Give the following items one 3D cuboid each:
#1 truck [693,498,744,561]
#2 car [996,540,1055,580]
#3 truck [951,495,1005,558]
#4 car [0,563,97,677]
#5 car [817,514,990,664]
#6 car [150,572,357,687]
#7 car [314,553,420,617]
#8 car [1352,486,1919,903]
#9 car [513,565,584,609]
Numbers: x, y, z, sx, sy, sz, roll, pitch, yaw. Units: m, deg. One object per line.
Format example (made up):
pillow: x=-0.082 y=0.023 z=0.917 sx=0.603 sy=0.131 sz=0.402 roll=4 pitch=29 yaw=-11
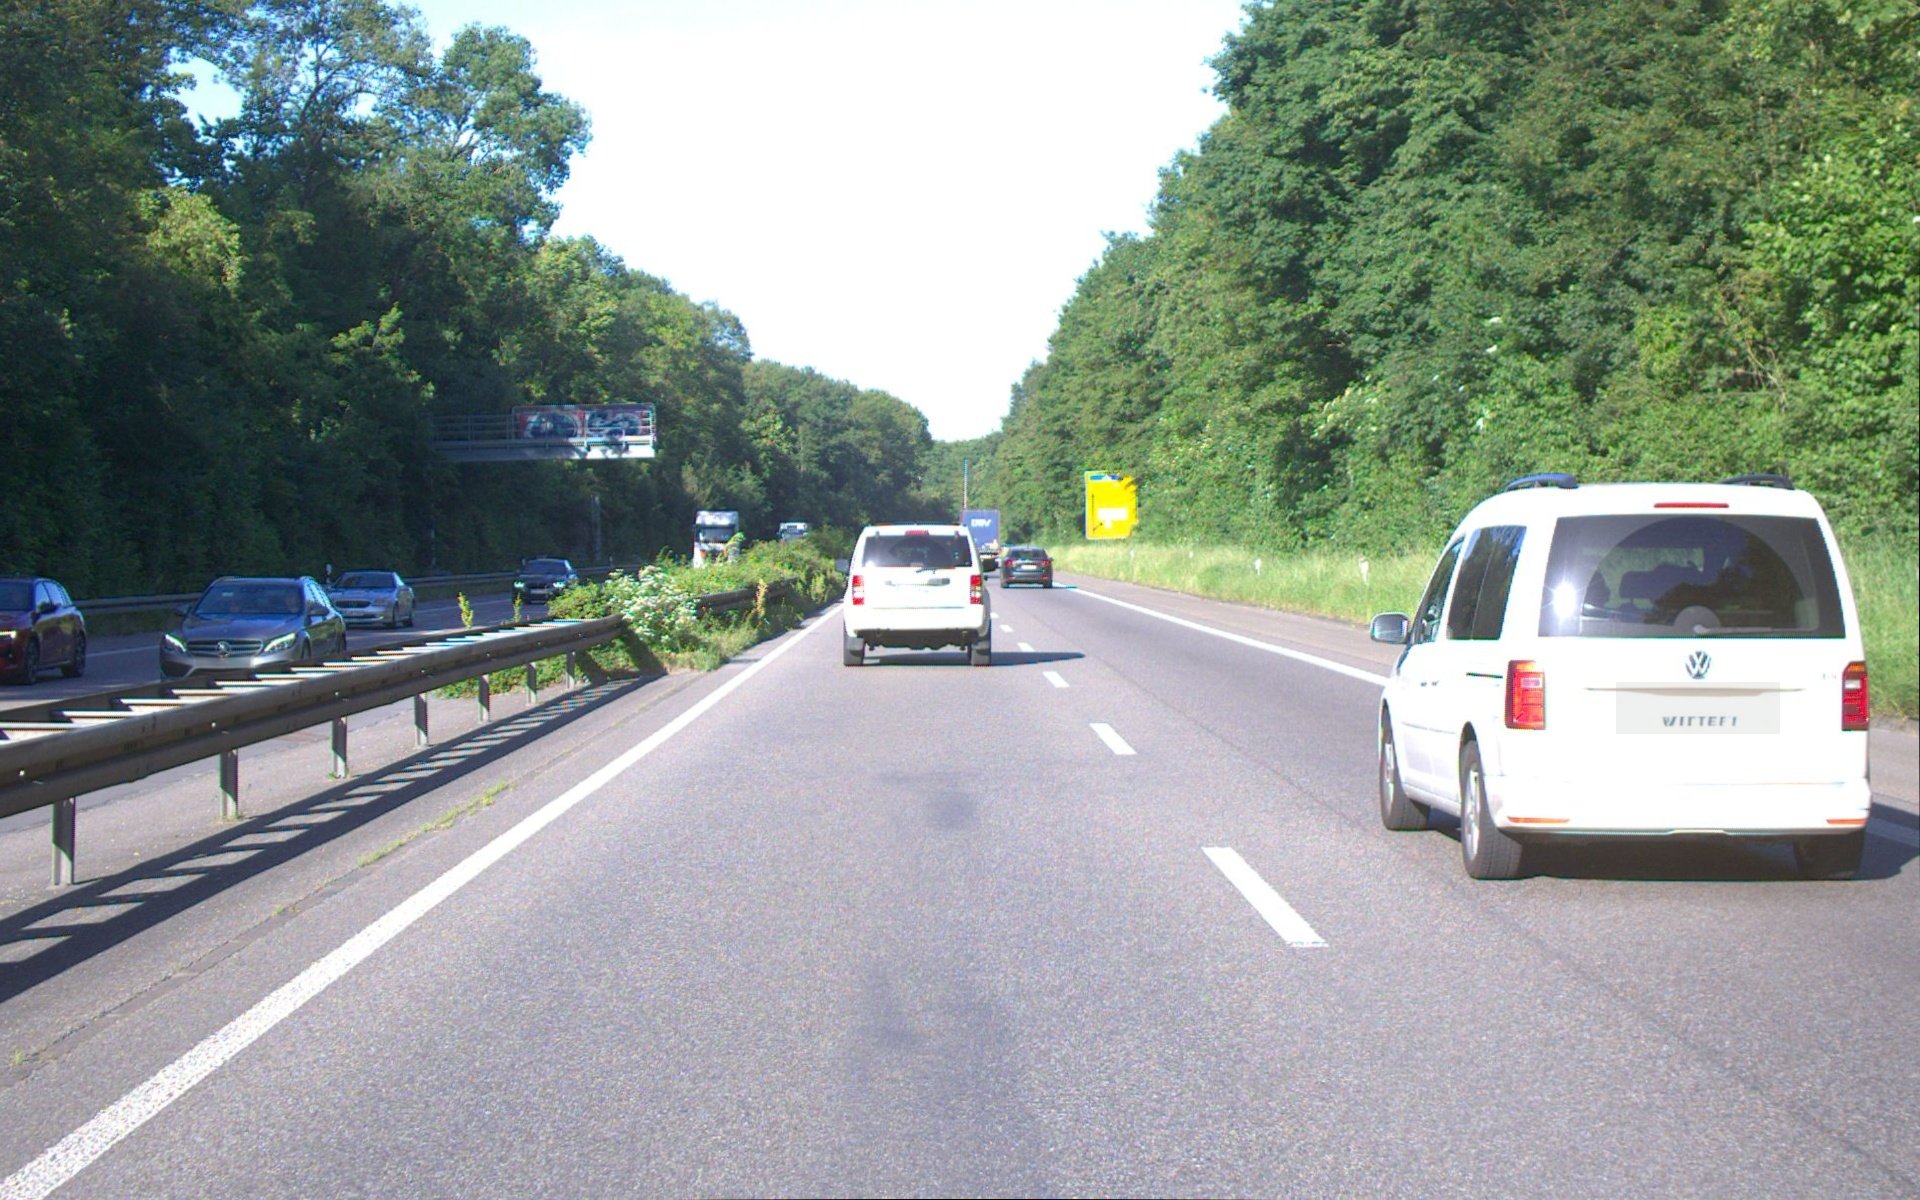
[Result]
truck: x=-14.478 y=-4.224 z=206.378 sx=2.761 sy=3.699 sz=7.858 roll=-1 pitch=1 yaw=-3
car: x=2.320 y=-1.441 z=122.912 sx=1.993 sy=1.393 sz=4.000 roll=0 pitch=1 yaw=-1
truck: x=1.229 y=-5.017 z=235.873 sx=3.496 sy=4.158 sz=8.862 roll=-1 pitch=1 yaw=-1
car: x=-13.067 y=0.244 z=46.601 sx=1.718 sy=1.440 sz=4.229 roll=-1 pitch=1 yaw=-1
car: x=-0.769 y=-0.173 z=43.739 sx=2.085 sy=1.822 sz=4.001 roll=0 pitch=1 yaw=-2
car: x=-9.090 y=0.348 z=44.570 sx=1.835 sy=1.352 sz=4.475 roll=0 pitch=1 yaw=-1
car: x=-13.273 y=-0.359 z=77.162 sx=1.718 sy=1.352 sz=4.229 roll=-1 pitch=1 yaw=-1
car: x=3.151 y=0.353 z=16.809 sx=1.863 sy=1.764 sz=4.470 roll=0 pitch=1 yaw=-1
car: x=-12.970 y=-0.416 z=108.515 sx=1.718 sy=1.352 sz=3.946 roll=0 pitch=1 yaw=0
